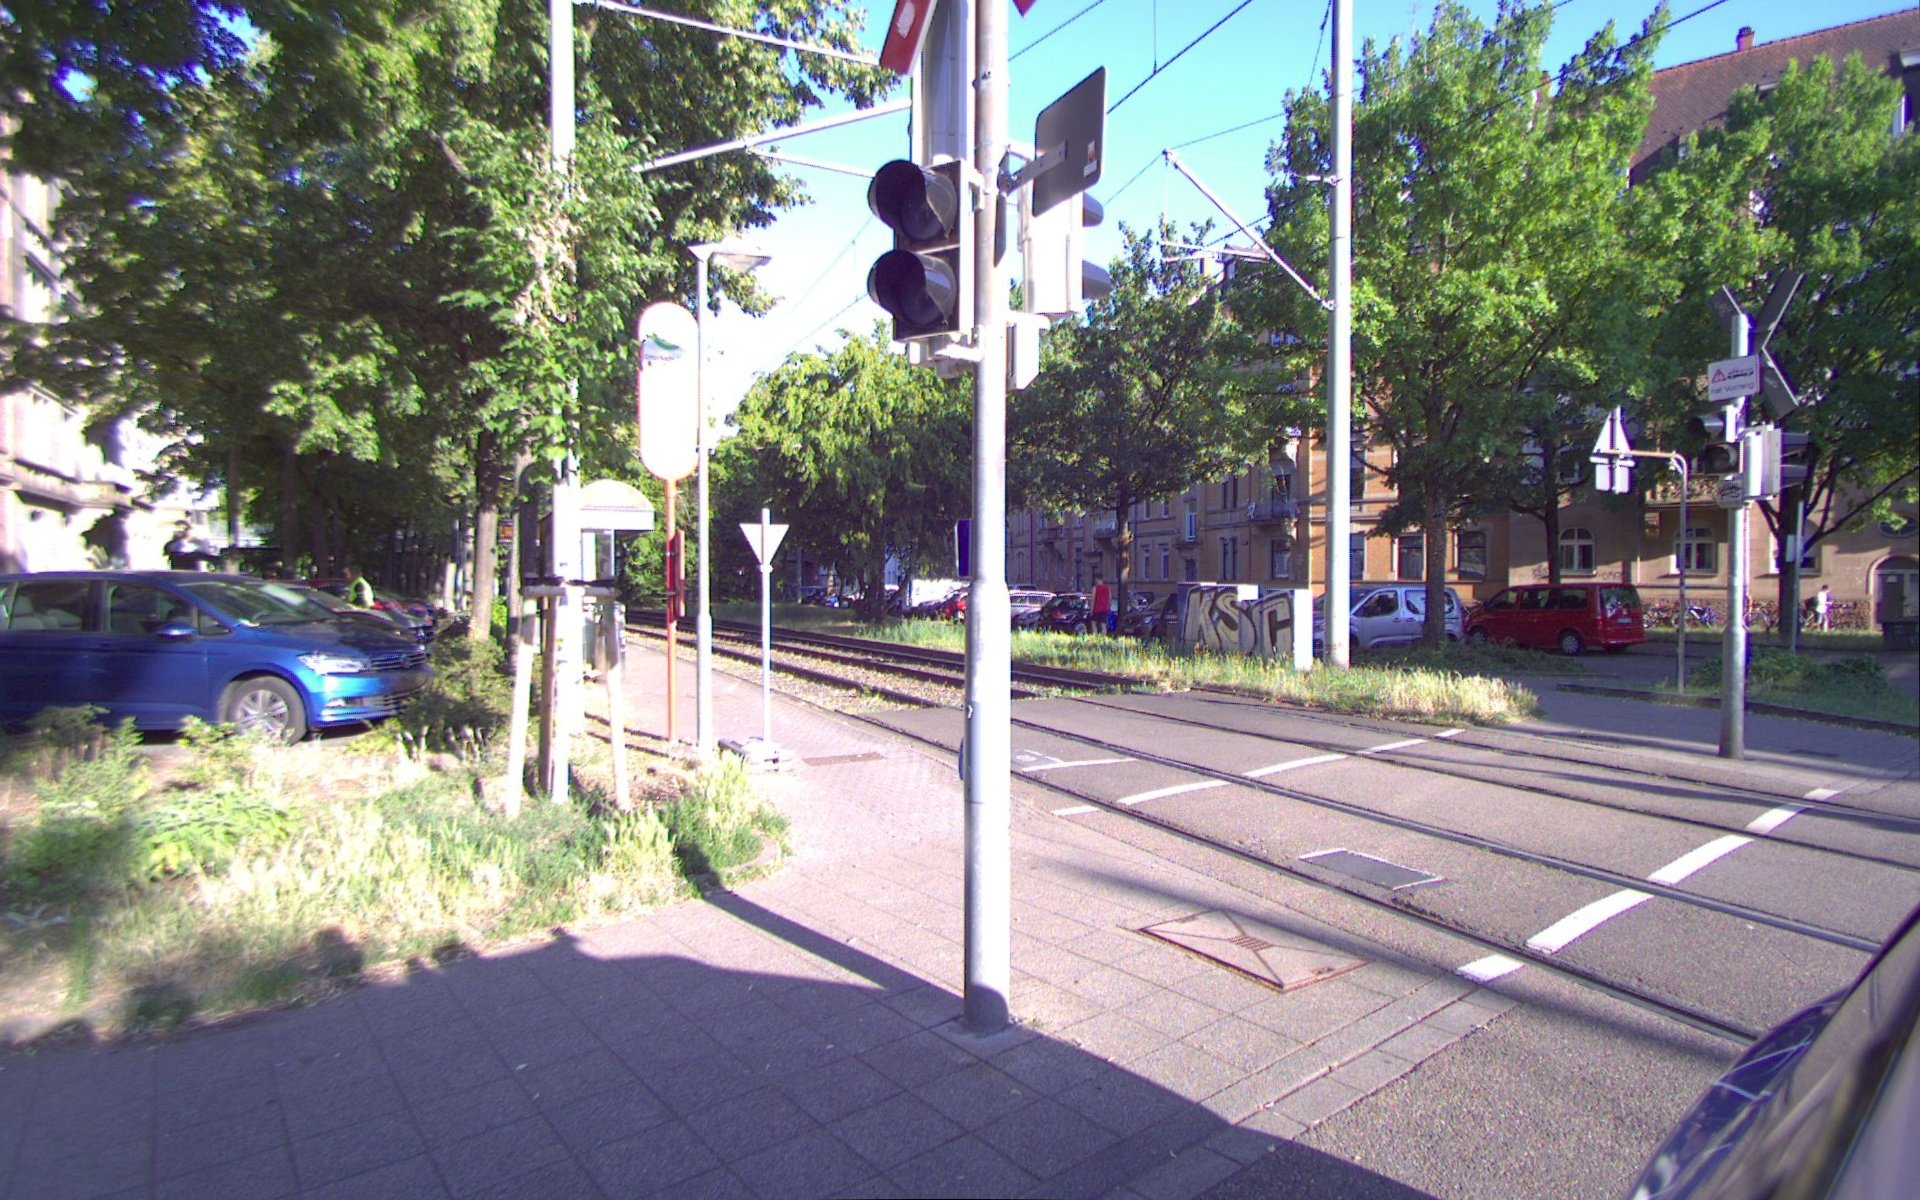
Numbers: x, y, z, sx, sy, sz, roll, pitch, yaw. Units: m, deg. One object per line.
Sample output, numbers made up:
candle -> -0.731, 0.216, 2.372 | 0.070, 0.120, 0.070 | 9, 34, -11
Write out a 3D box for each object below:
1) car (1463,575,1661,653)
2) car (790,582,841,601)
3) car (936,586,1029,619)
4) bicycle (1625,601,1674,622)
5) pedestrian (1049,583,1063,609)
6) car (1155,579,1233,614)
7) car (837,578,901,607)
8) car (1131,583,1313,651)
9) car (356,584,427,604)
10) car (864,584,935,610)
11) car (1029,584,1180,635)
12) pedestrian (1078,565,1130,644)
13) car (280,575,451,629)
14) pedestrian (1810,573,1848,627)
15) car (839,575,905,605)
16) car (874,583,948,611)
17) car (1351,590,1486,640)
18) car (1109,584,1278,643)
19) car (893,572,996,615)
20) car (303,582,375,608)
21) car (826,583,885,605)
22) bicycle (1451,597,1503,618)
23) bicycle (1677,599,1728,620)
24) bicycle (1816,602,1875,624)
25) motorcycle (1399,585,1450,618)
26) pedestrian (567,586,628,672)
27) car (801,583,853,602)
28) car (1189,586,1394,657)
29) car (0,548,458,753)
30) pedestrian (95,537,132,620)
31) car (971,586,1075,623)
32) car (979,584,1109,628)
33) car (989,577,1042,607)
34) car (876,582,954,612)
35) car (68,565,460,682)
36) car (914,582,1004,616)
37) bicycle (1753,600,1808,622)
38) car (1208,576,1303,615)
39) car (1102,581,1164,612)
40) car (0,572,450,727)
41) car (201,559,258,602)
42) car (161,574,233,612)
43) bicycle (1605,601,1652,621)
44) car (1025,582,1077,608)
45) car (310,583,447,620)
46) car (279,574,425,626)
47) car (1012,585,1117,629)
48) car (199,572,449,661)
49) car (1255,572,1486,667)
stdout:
car -> 16.765, 0.312, 28.524 | 1.745, 1.957, 4.783 | -2, 2, -19
car -> -12.376, -0.725, 86.748 | 4.046, 1.541, 1.688 | 1, 0, -18
car -> 1.038, 0.105, 46.545 | 3.915, 1.441, 1.688 | 1, 1, -18
bicycle -> 26.078, 0.424, 38.287 | 1.501, 0.741, 0.364 | 1, 1, 36
pedestrian -> 6.617, -0.301, 69.559 | 0.661, 1.739, 0.724 | -2, 1, -17
car -> 10.854, -0.189, 47.200 | 1.654, 1.493, 3.890 | -2, 2, -20
car -> -6.055, -0.499, 67.261 | 3.915, 1.855, 1.688 | 1, 0, -18
car -> 7.072, 0.418, 27.401 | 4.356, 1.712, 1.955 | 0, 2, -16
car -> -38.877, -0.421, 69.299 | 3.927, 1.295, 1.747 | 1, 1, 3
car -> -3.591, -0.176, 60.266 | 3.915, 1.507, 1.688 | 1, 0, -18
car -> 4.867, 0.282, 34.205 | 4.616, 1.592, 2.005 | 0, 2, -16
pedestrian -> 3.632, 0.103, 25.544 | 0.886, 1.942, 1.152 | 0, 1, -18
car -> -17.847, 0.049, 30.463 | 4.208, 1.506, 1.806 | 1, 0, 7
pedestrian -> 28.636, -0.020, 33.373 | 0.907, 1.739, 0.666 | 1, 1, 39
car -> -5.667, -0.610, 64.830 | 3.915, 1.855, 1.688 | 1, 0, -18
car -> -2.820, -0.167, 57.755 | 3.915, 1.507, 1.688 | 1, 0, -18
car -> 15.255, 0.439, 33.953 | 1.745, 1.451, 4.280 | -2, 2, -16
car -> 6.847, 0.364, 29.829 | 4.457, 1.592, 1.955 | 0, 2, -16
car -> -0.816, -0.330, 51.244 | 4.758, 2.064, 2.160 | 1, 0, -18
car -> -43.853, -0.377, 71.530 | 3.917, 1.789, 1.751 | 1, 0, -11
car -> -7.514, -0.433, 72.533 | 3.915, 1.507, 1.688 | 1, 0, -18
bicycle -> 21.665, 0.291, 42.403 | 1.887, 0.858, 0.519 | 0, 0, 37
bicycle -> 27.586, 0.363, 37.628 | 1.501, 0.741, 0.364 | 1, 1, 36
bicycle -> 30.862, 0.445, 35.289 | 1.501, 0.741, 0.364 | -1, 0, 36
motorcycle -> 19.953, 0.054, 43.469 | 1.887, 1.370, 0.799 | 0, 0, 37
pedestrian -> -5.688, 0.433, 15.858 | 0.808, 1.288, 0.878 | 0, 1, -26
car -> -10.754, -0.607, 82.071 | 3.915, 1.507, 1.688 | 1, 0, -18
car -> 8.153, 0.487, 24.992 | 4.457, 1.592, 1.955 | 0, 2, -16
car -> -7.353, 0.433, 9.573 | 4.336, 1.708, 1.742 | -1, 1, 1
pedestrian -> -30.804, -0.777, 36.837 | 0.902, 2.984, 0.701 | 0, 1, -30
car -> 2.607, 0.181, 41.731 | 3.915, 1.479, 1.688 | 1, 1, -18
car -> 3.235, 0.201, 39.332 | 4.616, 1.592, 2.005 | 0, 2, -16
car -> 3.689, -0.570, 67.755 | 1.873, 1.906, 4.735 | -2, 2, -18
car -> -2.455, -0.166, 55.247 | 3.915, 1.573, 1.688 | 1, 0, -18
car -> -9.957, 0.297, 14.715 | 4.470, 1.506, 1.928 | 1, 0, 3
car -> -0.046, -0.052, 48.619 | 3.916, 1.600, 1.769 | 1, 1, -20
bicycle -> 29.523, 0.391, 36.439 | 1.501, 0.741, 0.364 | 1, 1, 36
car -> 12.345, -0.202, 42.545 | 1.745, 1.493, 4.280 | -2, 2, -16
car -> 8.962, -0.232, 52.670 | 1.654, 1.493, 3.717 | -2, 2, -18
car -> -8.889, 0.527, 12.272 | 4.470, 1.655, 1.928 | 1, 0, 3
car -> -39.693, -1.059, 55.090 | 1.960, 2.200, 4.618 | 1, 1, -30
car -> -33.978, -0.337, 45.155 | 1.960, 1.587, 4.618 | 1, 1, -30
bicycle -> 25.760, 0.410, 39.002 | 1.501, 0.741, 0.364 | 1, 1, 36
car -> 5.580, -0.325, 62.436 | 1.732, 1.456, 3.897 | -2, 2, -18
car -> -21.949, 0.038, 38.308 | 4.204, 1.295, 1.808 | 1, 1, 4
car -> -21.472, -0.018, 35.805 | 4.208, 1.716, 1.806 | 1, 0, 7
car -> 3.752, 0.242, 36.540 | 3.338, 1.533, 1.722 | 0, 0, -16
car -> -13.561, 0.308, 21.667 | 4.483, 1.743, 1.922 | 1, 0, 13
car -> 9.054, 0.369, 22.412 | 4.457, 1.938, 1.955 | 0, 2, -16
